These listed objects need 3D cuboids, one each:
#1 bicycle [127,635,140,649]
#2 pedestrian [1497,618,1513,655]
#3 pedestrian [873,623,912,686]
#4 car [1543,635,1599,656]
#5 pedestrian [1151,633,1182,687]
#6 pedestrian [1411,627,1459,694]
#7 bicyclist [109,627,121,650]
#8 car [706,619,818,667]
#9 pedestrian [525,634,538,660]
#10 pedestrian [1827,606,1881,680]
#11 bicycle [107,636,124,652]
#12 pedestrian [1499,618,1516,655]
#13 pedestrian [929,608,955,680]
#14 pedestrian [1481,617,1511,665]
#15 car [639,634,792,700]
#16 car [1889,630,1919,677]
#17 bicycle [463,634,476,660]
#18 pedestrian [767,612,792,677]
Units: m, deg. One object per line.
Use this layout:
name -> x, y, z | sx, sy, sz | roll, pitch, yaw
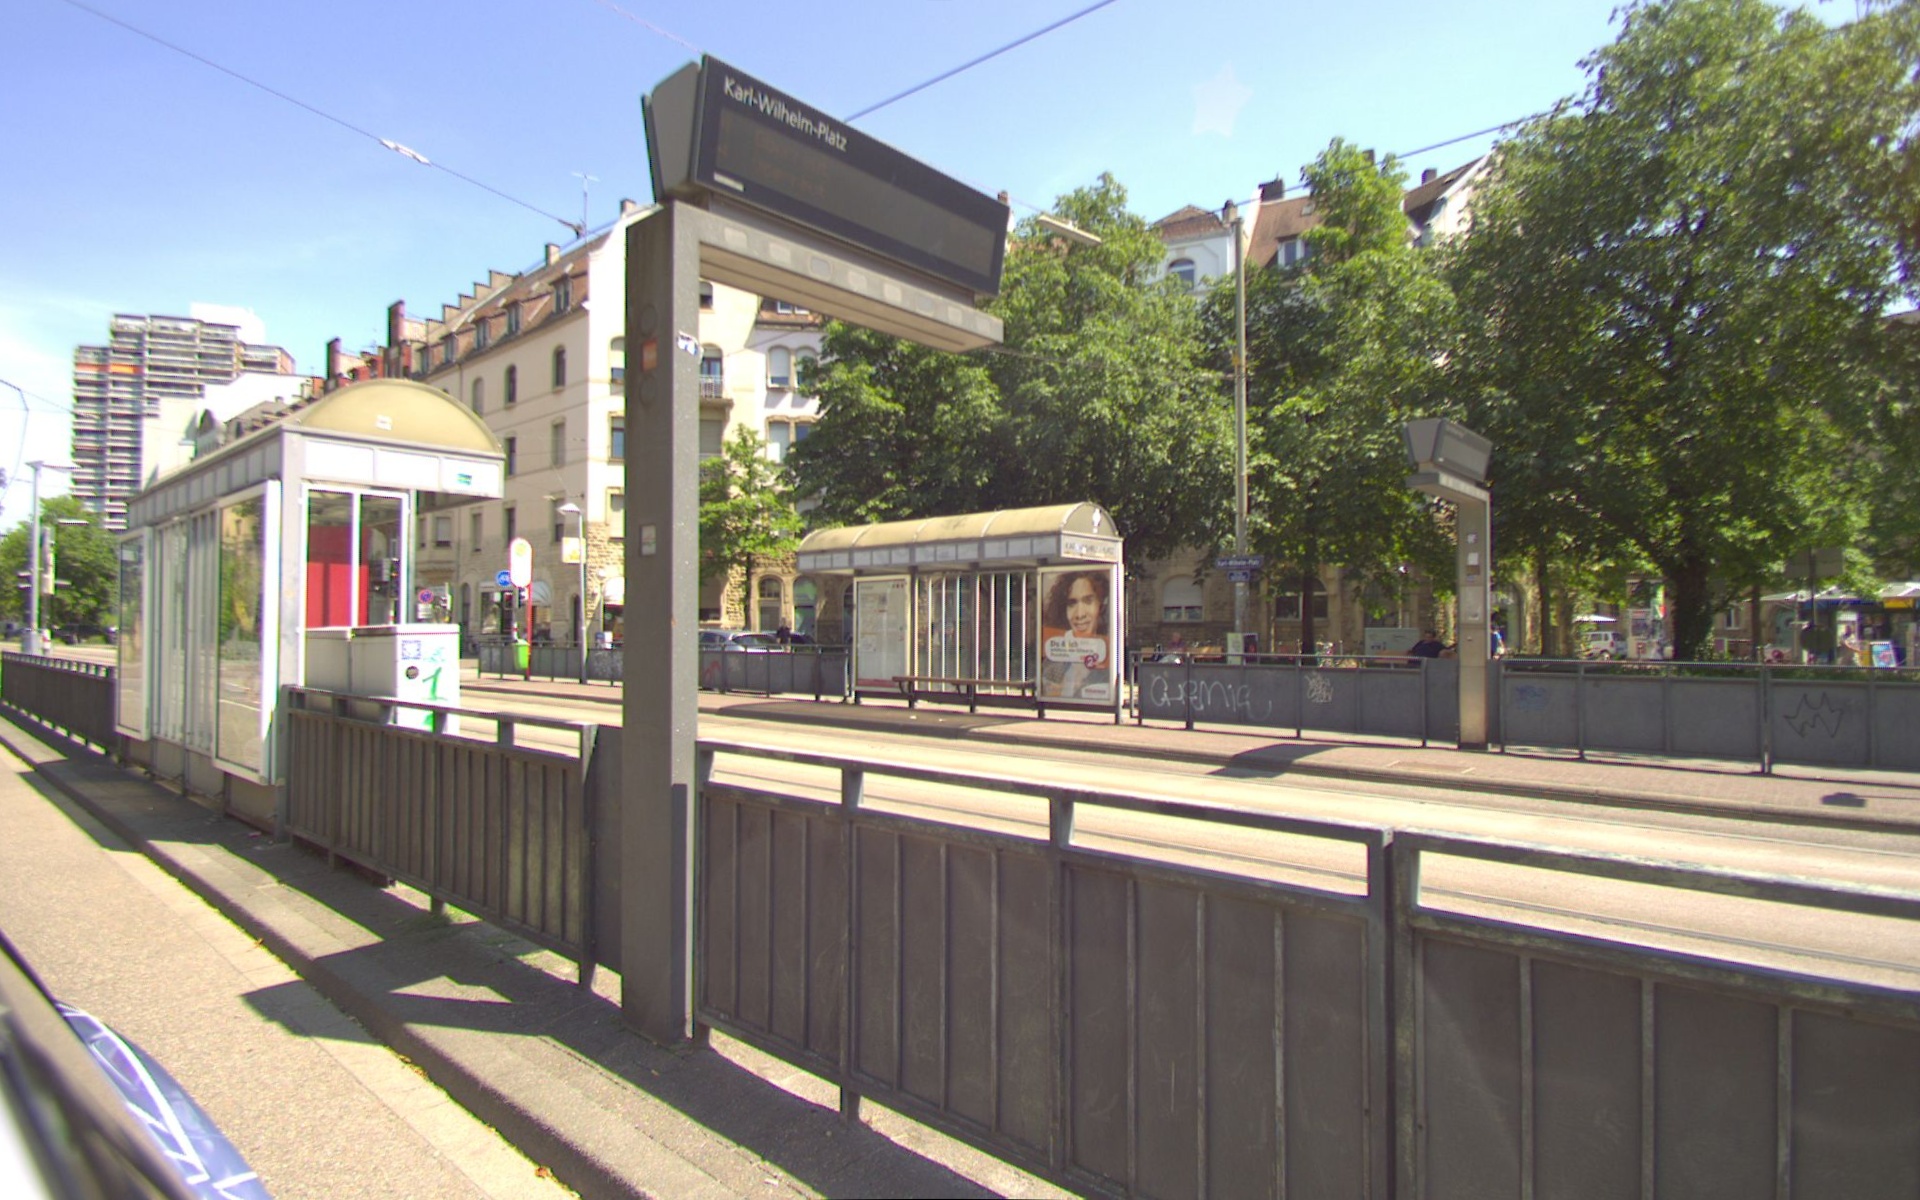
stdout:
bicycle -> -65.585, 3.321, 80.324 | 2.046, 1.105, 0.487 | -2, -2, 42
pedestrian -> 24.219, 1.625, 45.000 | 0.526, 1.635, 0.491 | -1, -1, 41
pedestrian -> -1.760, 1.401, 26.303 | 0.772, 1.618, 0.673 | -1, -1, 38
car -> 26.474, 1.984, 43.852 | 1.899, 0.872, 0.856 | 0, -1, 17
pedestrian -> 4.955, 1.428, 24.335 | 0.637, 1.265, 0.549 | 0, -1, 2
pedestrian -> 9.389, 1.186, 20.023 | 0.637, 1.297, 0.618 | 0, -1, 2
bicyclist -> -59.795, 2.714, 71.612 | 0.585, 1.586, 0.602 | -1, -1, 41
car -> -6.913, 1.455, 35.302 | 3.526, 1.587, 1.588 | 0, -1, -28
pedestrian -> -19.420, 2.111, 45.905 | 0.405, 1.157, 0.401 | -1, -1, 38
pedestrian -> 24.928, 1.186, 28.229 | 0.704, 2.029, 0.816 | 0, -2, -10
bicycle -> -59.836, 3.108, 71.676 | 1.977, 1.166, 0.621 | -2, -2, 42
pedestrian -> 24.584, 1.631, 45.435 | 0.560, 1.635, 0.507 | -1, -1, 41
pedestrian -> -0.473, 1.155, 26.838 | 0.504, 1.893, 0.494 | 1, -2, -44
pedestrian -> 19.751, 1.495, 37.304 | 0.606, 1.764, 0.719 | 0, -1, -25
car -> -5.667, 1.476, 23.245 | 3.716, 1.349, 1.525 | -1, -1, 40
car -> 32.094, 1.718, 32.829 | 3.676, 1.453, 1.546 | 0, -1, -24
bicycle -> -24.291, 2.293, 50.091 | 0.447, 1.234, 2.086 | 0, -1, -29
pedestrian -> -5.169, 1.271, 29.026 | 0.494, 1.836, 0.505 | -1, -2, 43
